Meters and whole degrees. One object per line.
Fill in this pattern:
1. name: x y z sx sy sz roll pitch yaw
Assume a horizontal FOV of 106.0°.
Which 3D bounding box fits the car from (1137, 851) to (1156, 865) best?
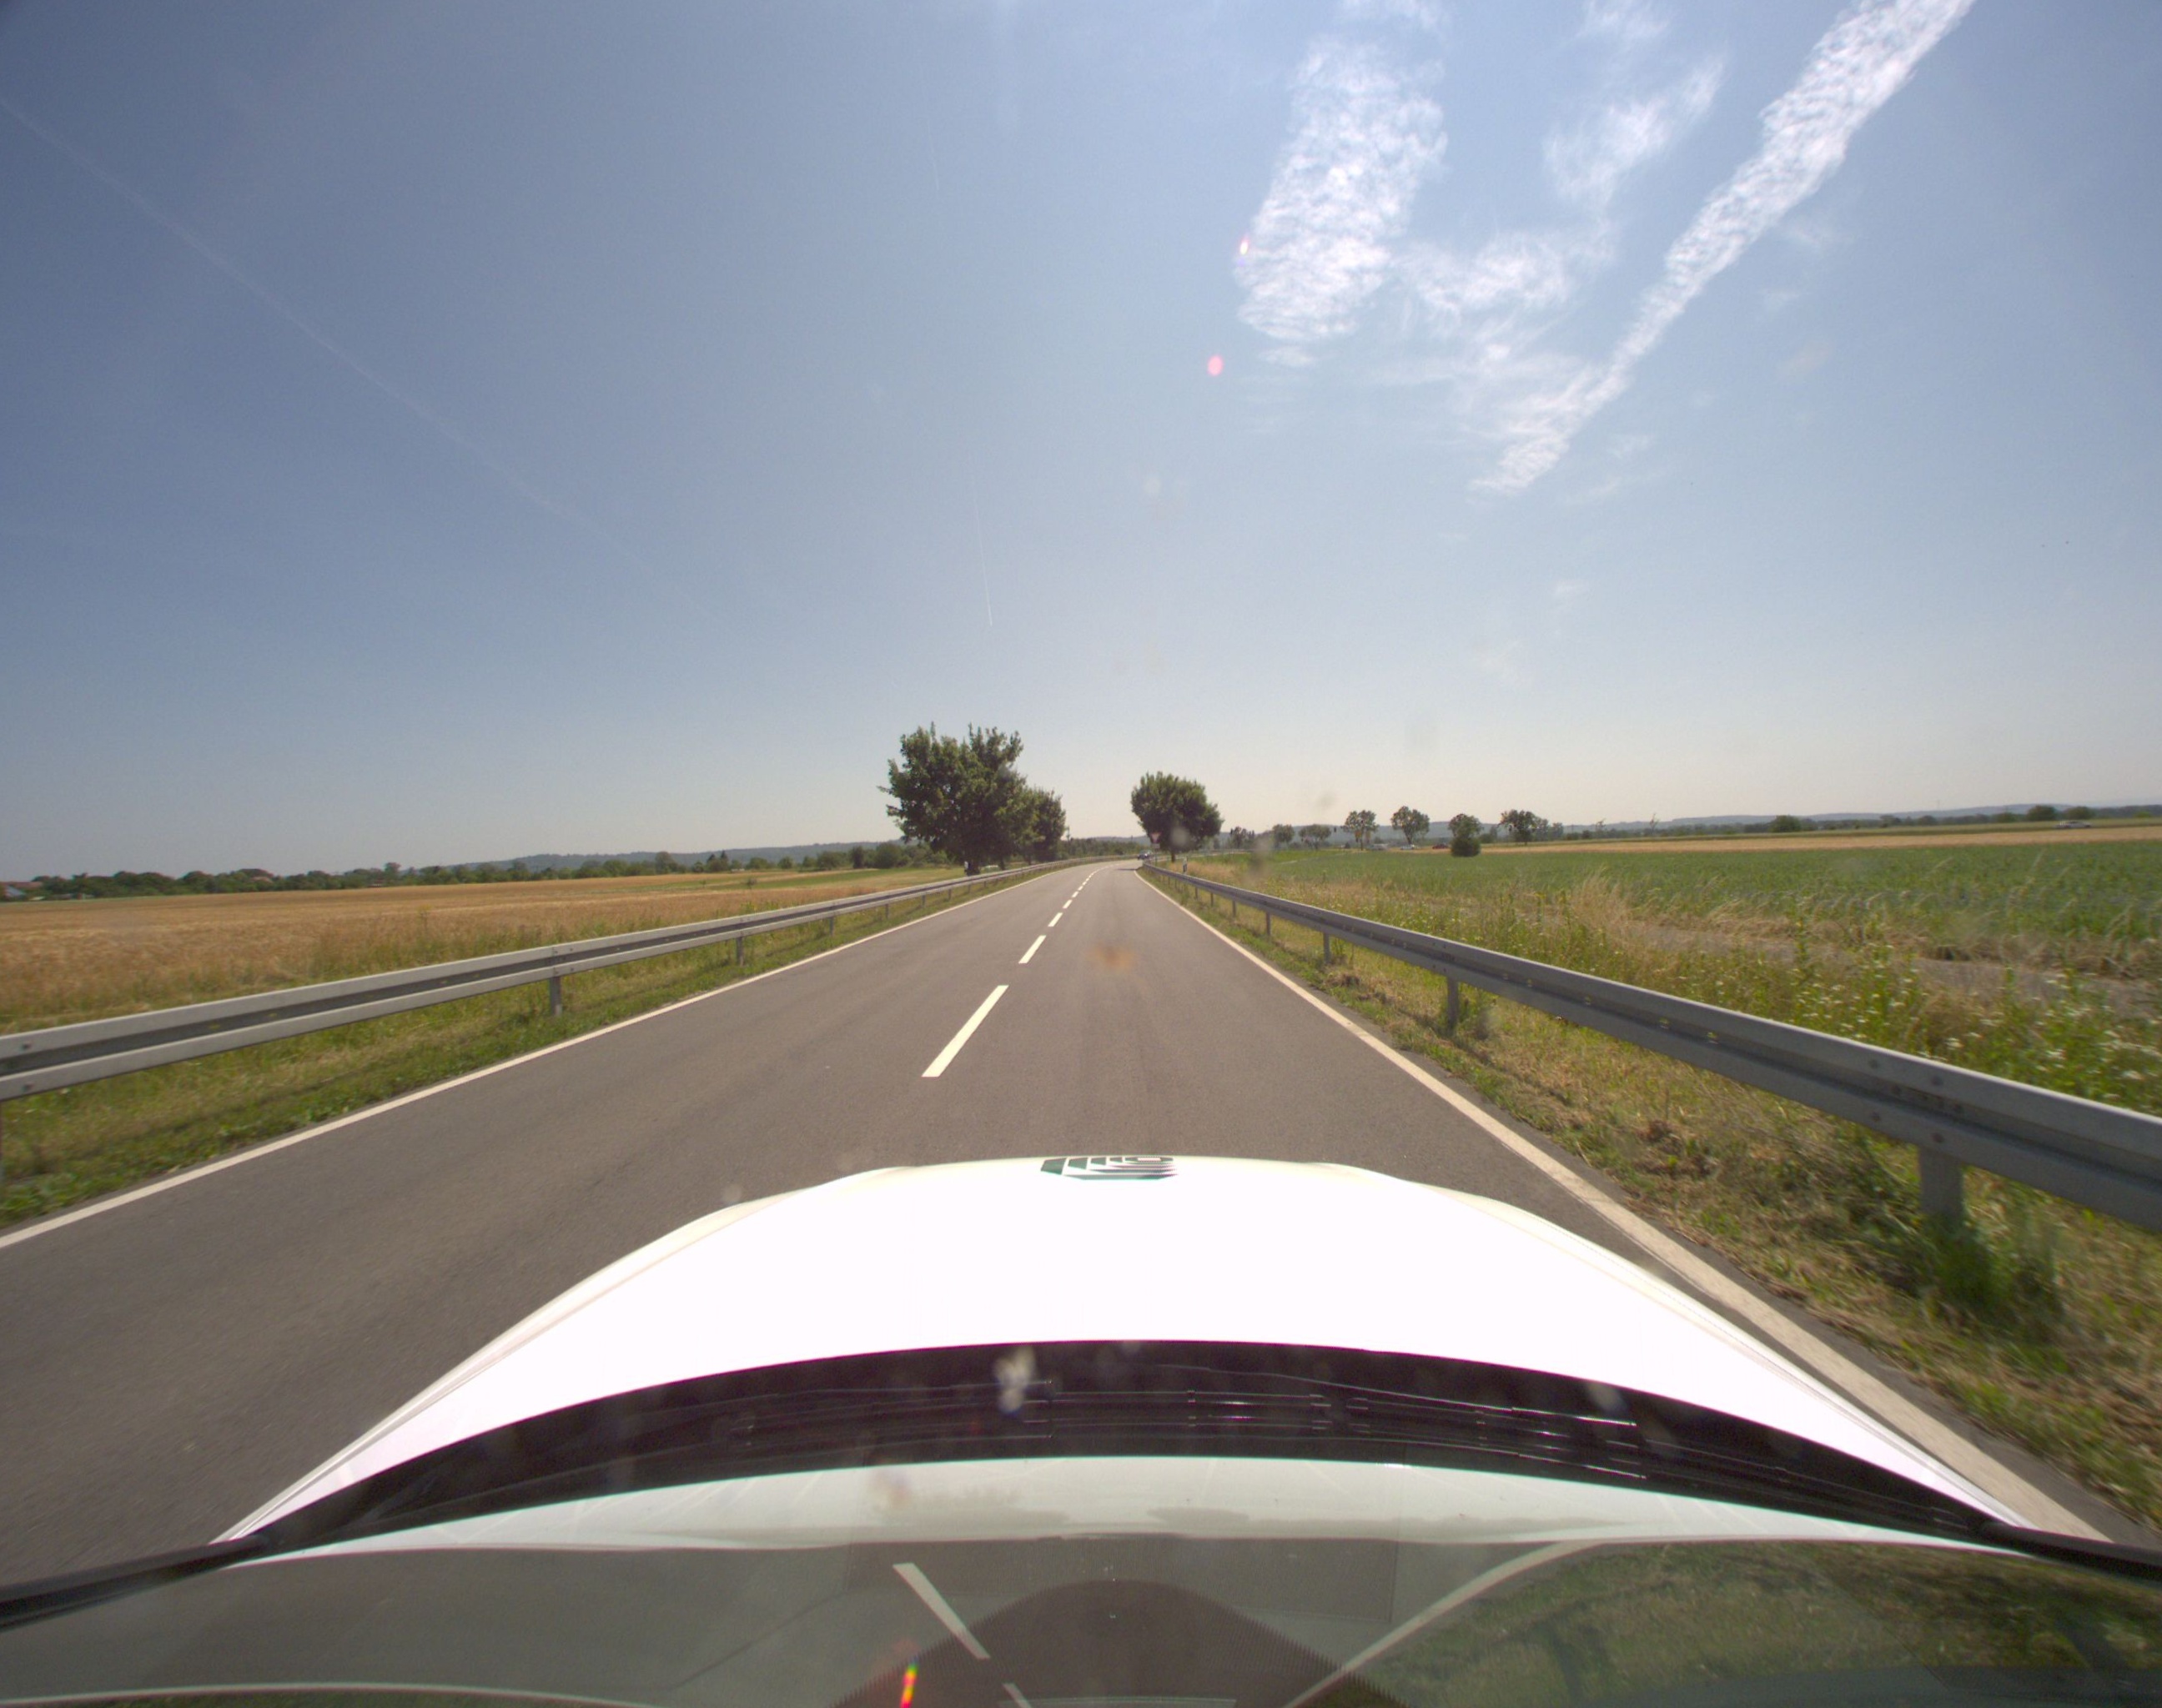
1. car: 10.281 0.640 127.368 1.977 2.014 4.019 0 -1 19
